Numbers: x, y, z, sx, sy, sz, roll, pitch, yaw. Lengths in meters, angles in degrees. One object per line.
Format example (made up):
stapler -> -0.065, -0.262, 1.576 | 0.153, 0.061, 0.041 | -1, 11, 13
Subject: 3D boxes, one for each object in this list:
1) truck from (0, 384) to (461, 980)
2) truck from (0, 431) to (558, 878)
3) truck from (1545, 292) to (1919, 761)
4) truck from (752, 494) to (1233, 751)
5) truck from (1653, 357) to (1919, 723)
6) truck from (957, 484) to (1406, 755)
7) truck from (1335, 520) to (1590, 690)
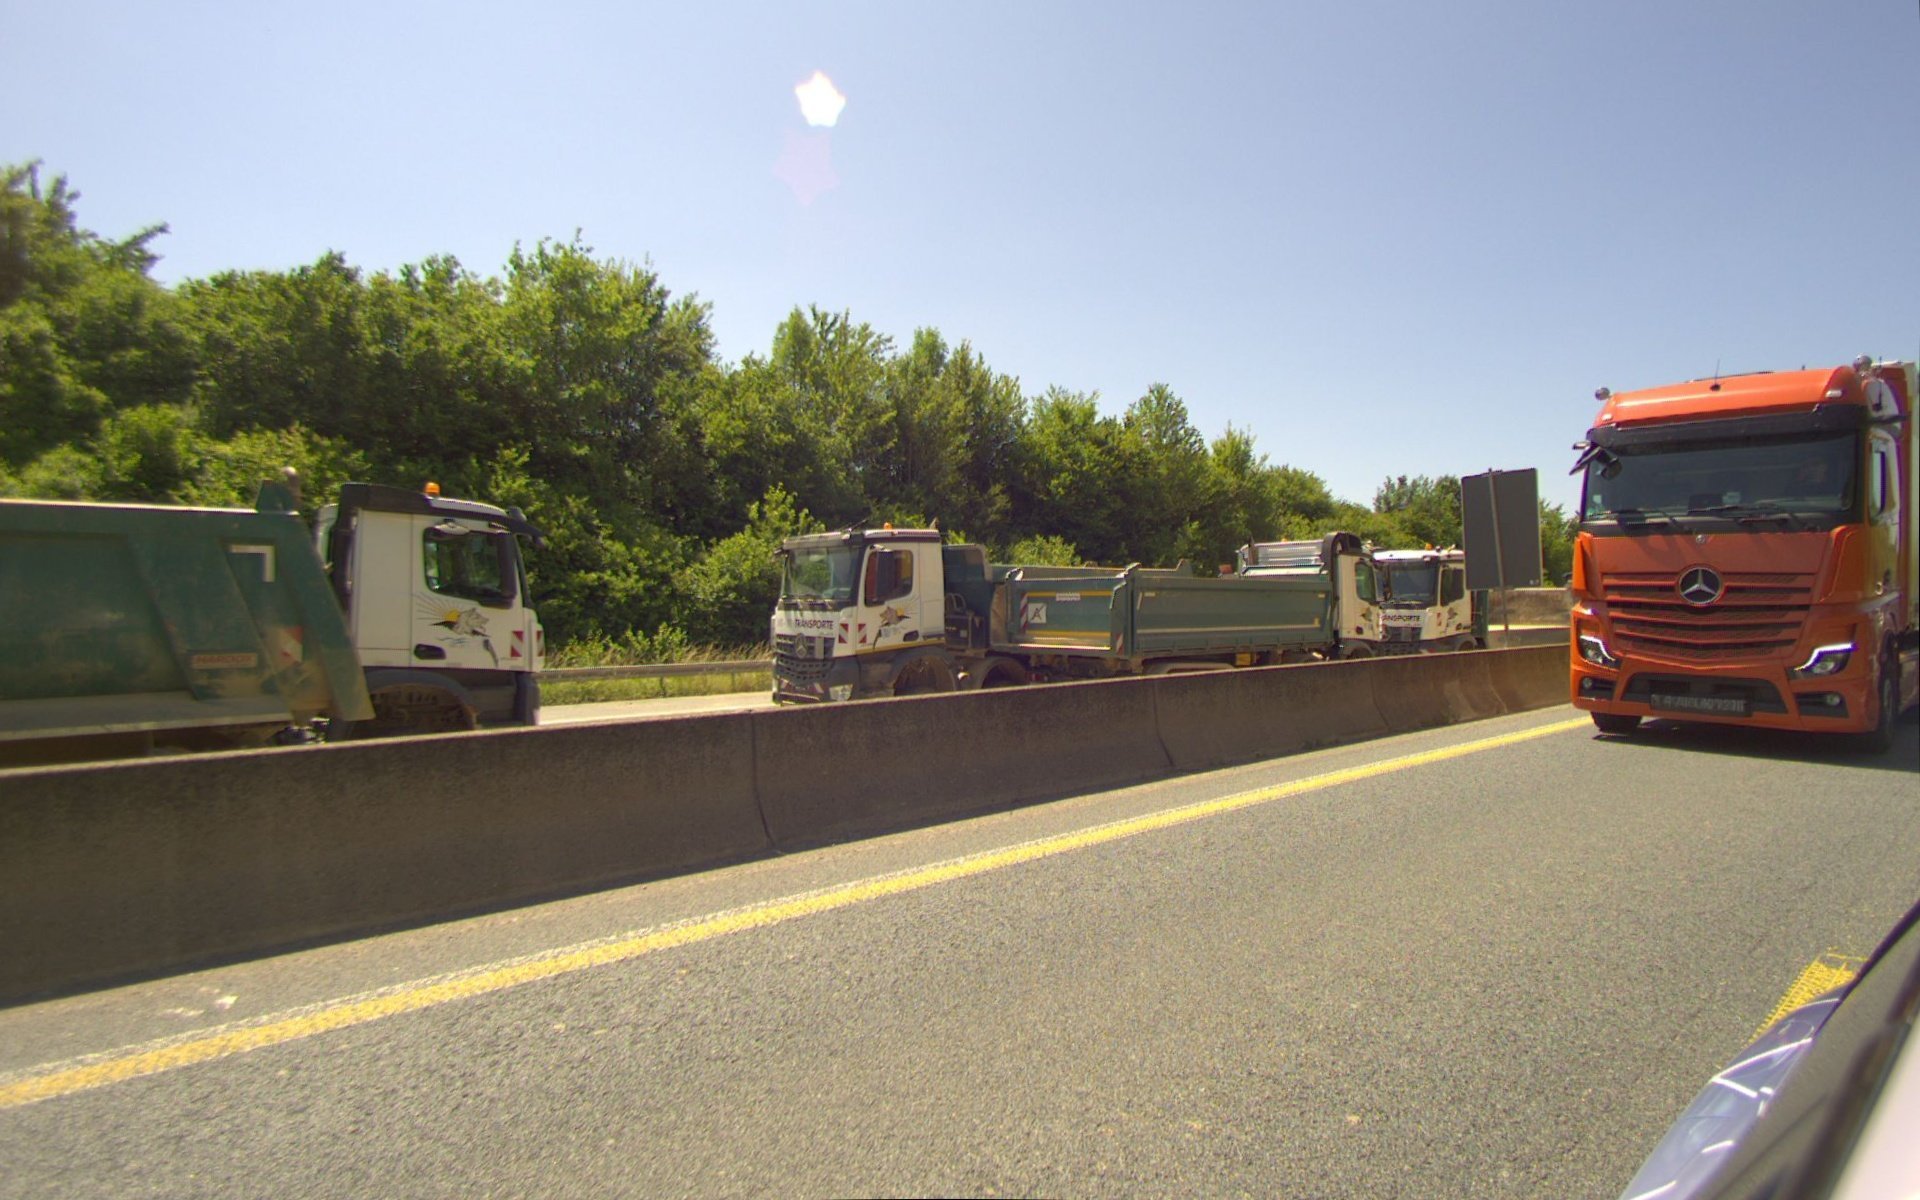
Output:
truck -> -8.278, 0.503, 5.751 | 9.435, 3.602, 2.691 | 0, 0, -41
truck -> -8.814, 0.437, 9.000 | 9.436, 3.602, 2.691 | 0, 0, -41
truck -> 9.663, -0.673, 11.919 | 6.606, 4.061, 2.687 | -1, 0, -40
truck -> 1.086, 0.291, 18.311 | 9.435, 3.602, 2.691 | 0, 0, -41
truck -> 14.848, -0.733, 16.347 | 12.986, 4.061, 2.687 | -1, 0, -40
truck -> 4.325, 0.237, 17.552 | 9.436, 3.602, 2.542 | 0, 0, -41
truck -> 12.700, 0.080, 25.073 | 8.789, 3.555, 2.537 | 0, 0, -41
